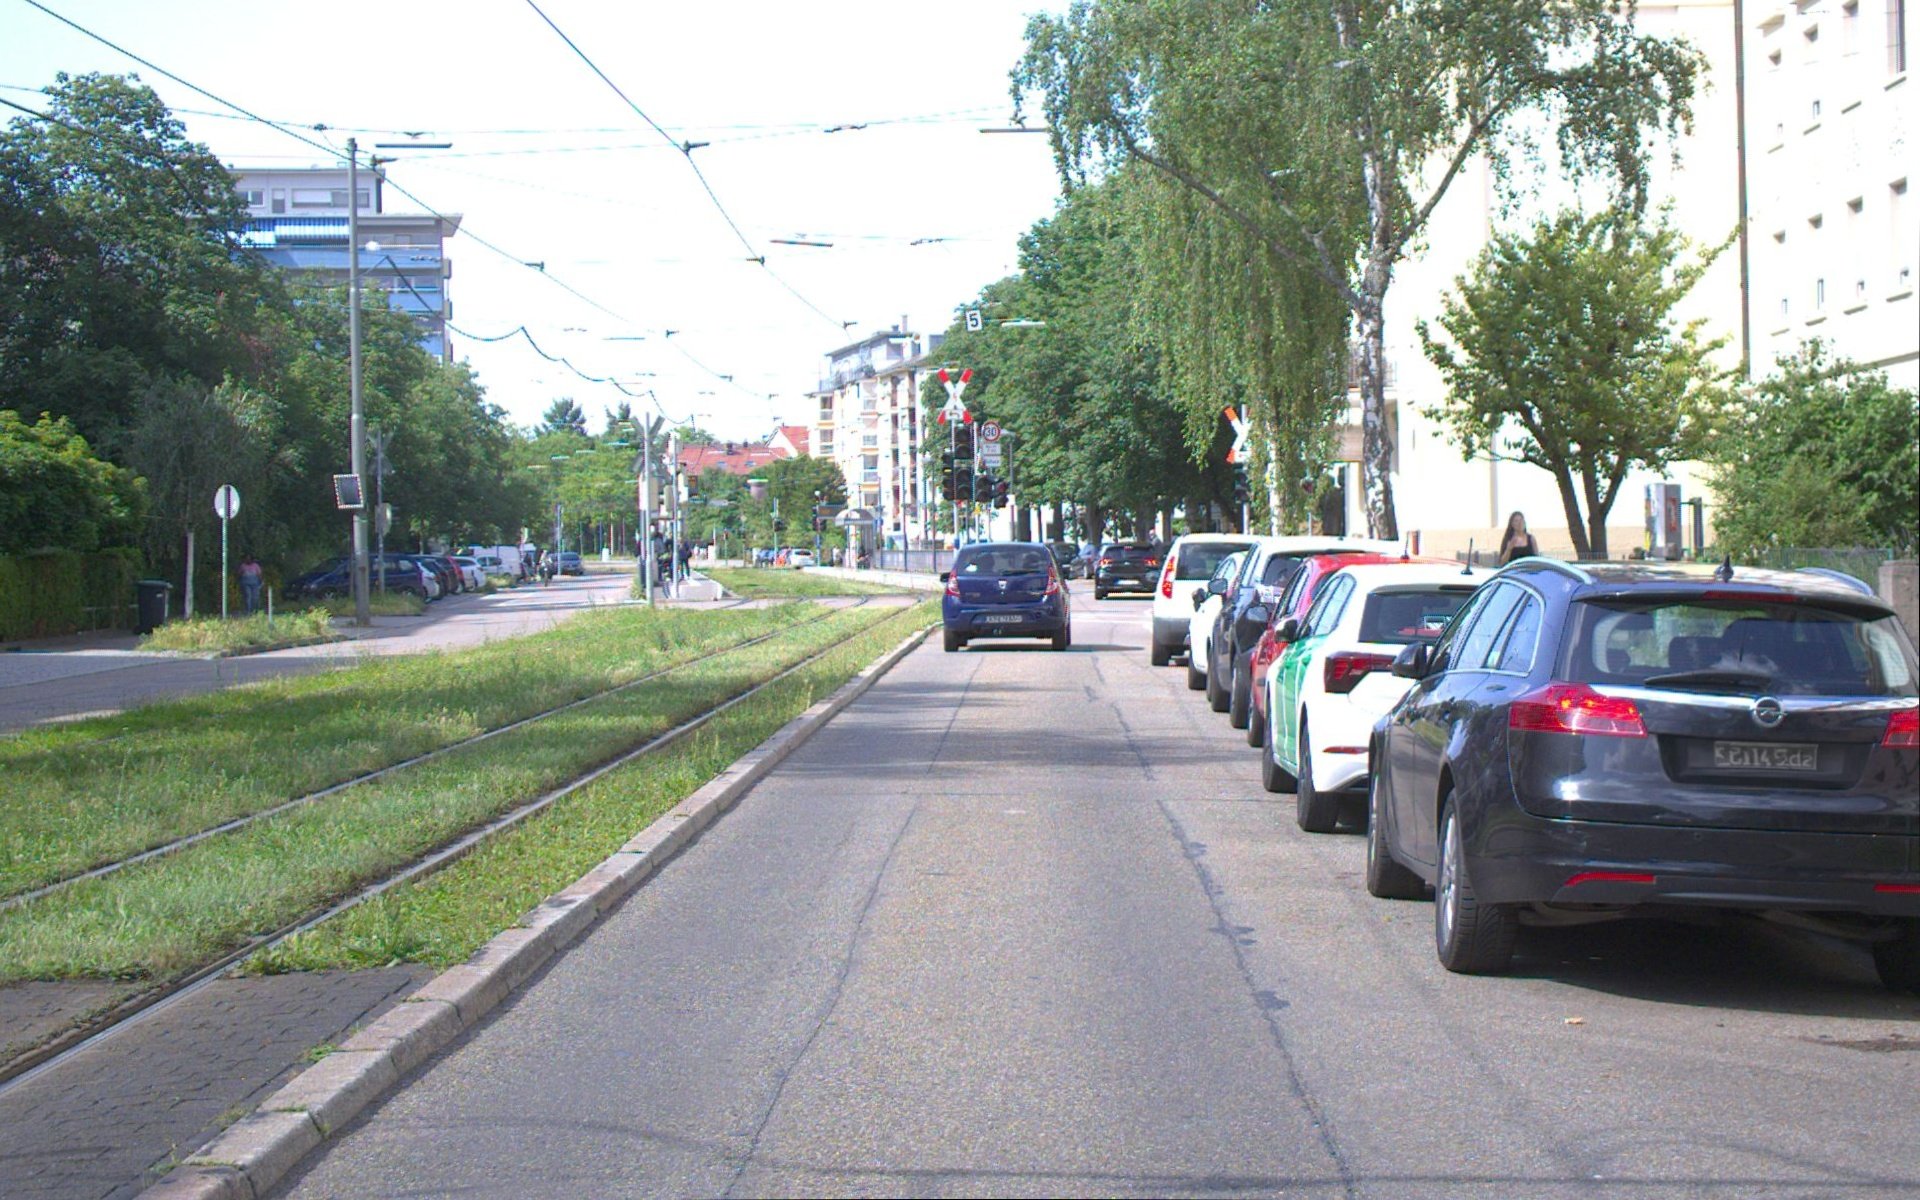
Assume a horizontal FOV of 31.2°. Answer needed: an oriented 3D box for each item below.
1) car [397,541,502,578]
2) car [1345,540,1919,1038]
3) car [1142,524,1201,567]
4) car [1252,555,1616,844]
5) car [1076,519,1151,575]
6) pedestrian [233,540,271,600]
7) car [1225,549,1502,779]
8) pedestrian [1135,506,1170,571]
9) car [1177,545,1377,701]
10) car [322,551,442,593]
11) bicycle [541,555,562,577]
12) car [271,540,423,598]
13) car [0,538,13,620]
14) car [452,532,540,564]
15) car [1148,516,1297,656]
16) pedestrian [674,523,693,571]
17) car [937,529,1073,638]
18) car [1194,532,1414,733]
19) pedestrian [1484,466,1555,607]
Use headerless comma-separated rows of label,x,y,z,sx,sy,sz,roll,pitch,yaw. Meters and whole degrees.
car,-20.906,-1.673,140.943,3.990,1.363,1.715,-3,2,-45
car,2.608,0.566,13.182,1.792,1.515,4.526,2,1,1
car,7.527,-1.950,122.492,1.861,1.440,4.000,-2,1,1
car,2.601,0.486,19.634,1.619,1.447,3.918,0,1,2
car,3.894,-1.359,87.678,1.700,1.363,3.515,1,1,0
pedestrian,-18.725,-0.799,90.922,0.745,1.568,0.889,-1,0,4
car,2.848,0.399,24.922,1.589,1.447,3.844,3,1,1
pedestrian,5.312,-1.705,94.972,0.870,1.769,1.004,0,1,-4
car,3.129,0.191,34.562,1.672,1.412,3.795,2,1,1
car,-17.974,-0.873,107.001,3.380,1.232,1.543,-2,2,-43
bicycle,-18.904,-1.595,159.121,0.680,0.967,2.179,-2,1,0
car,-18.086,-0.917,101.473,4.122,1.635,1.725,-2,2,-43
car,-20.670,-0.385,66.805,3.987,1.590,2.000,-1,1,-1
car,-23.097,-2.592,171.299,3.988,1.442,1.727,-3,2,-38
car,3.270,-0.202,42.876,1.721,1.624,4.000,2,1,4
pedestrian,-10.292,-1.980,127.981,0.604,1.760,0.639,-1,1,5
car,0.668,-0.255,48.165,1.768,1.457,3.775,0,1,3
car,2.902,0.227,29.613,1.493,1.574,3.759,1,1,0
pedestrian,6.844,-0.776,42.093,0.730,1.677,0.691,-3,1,5
